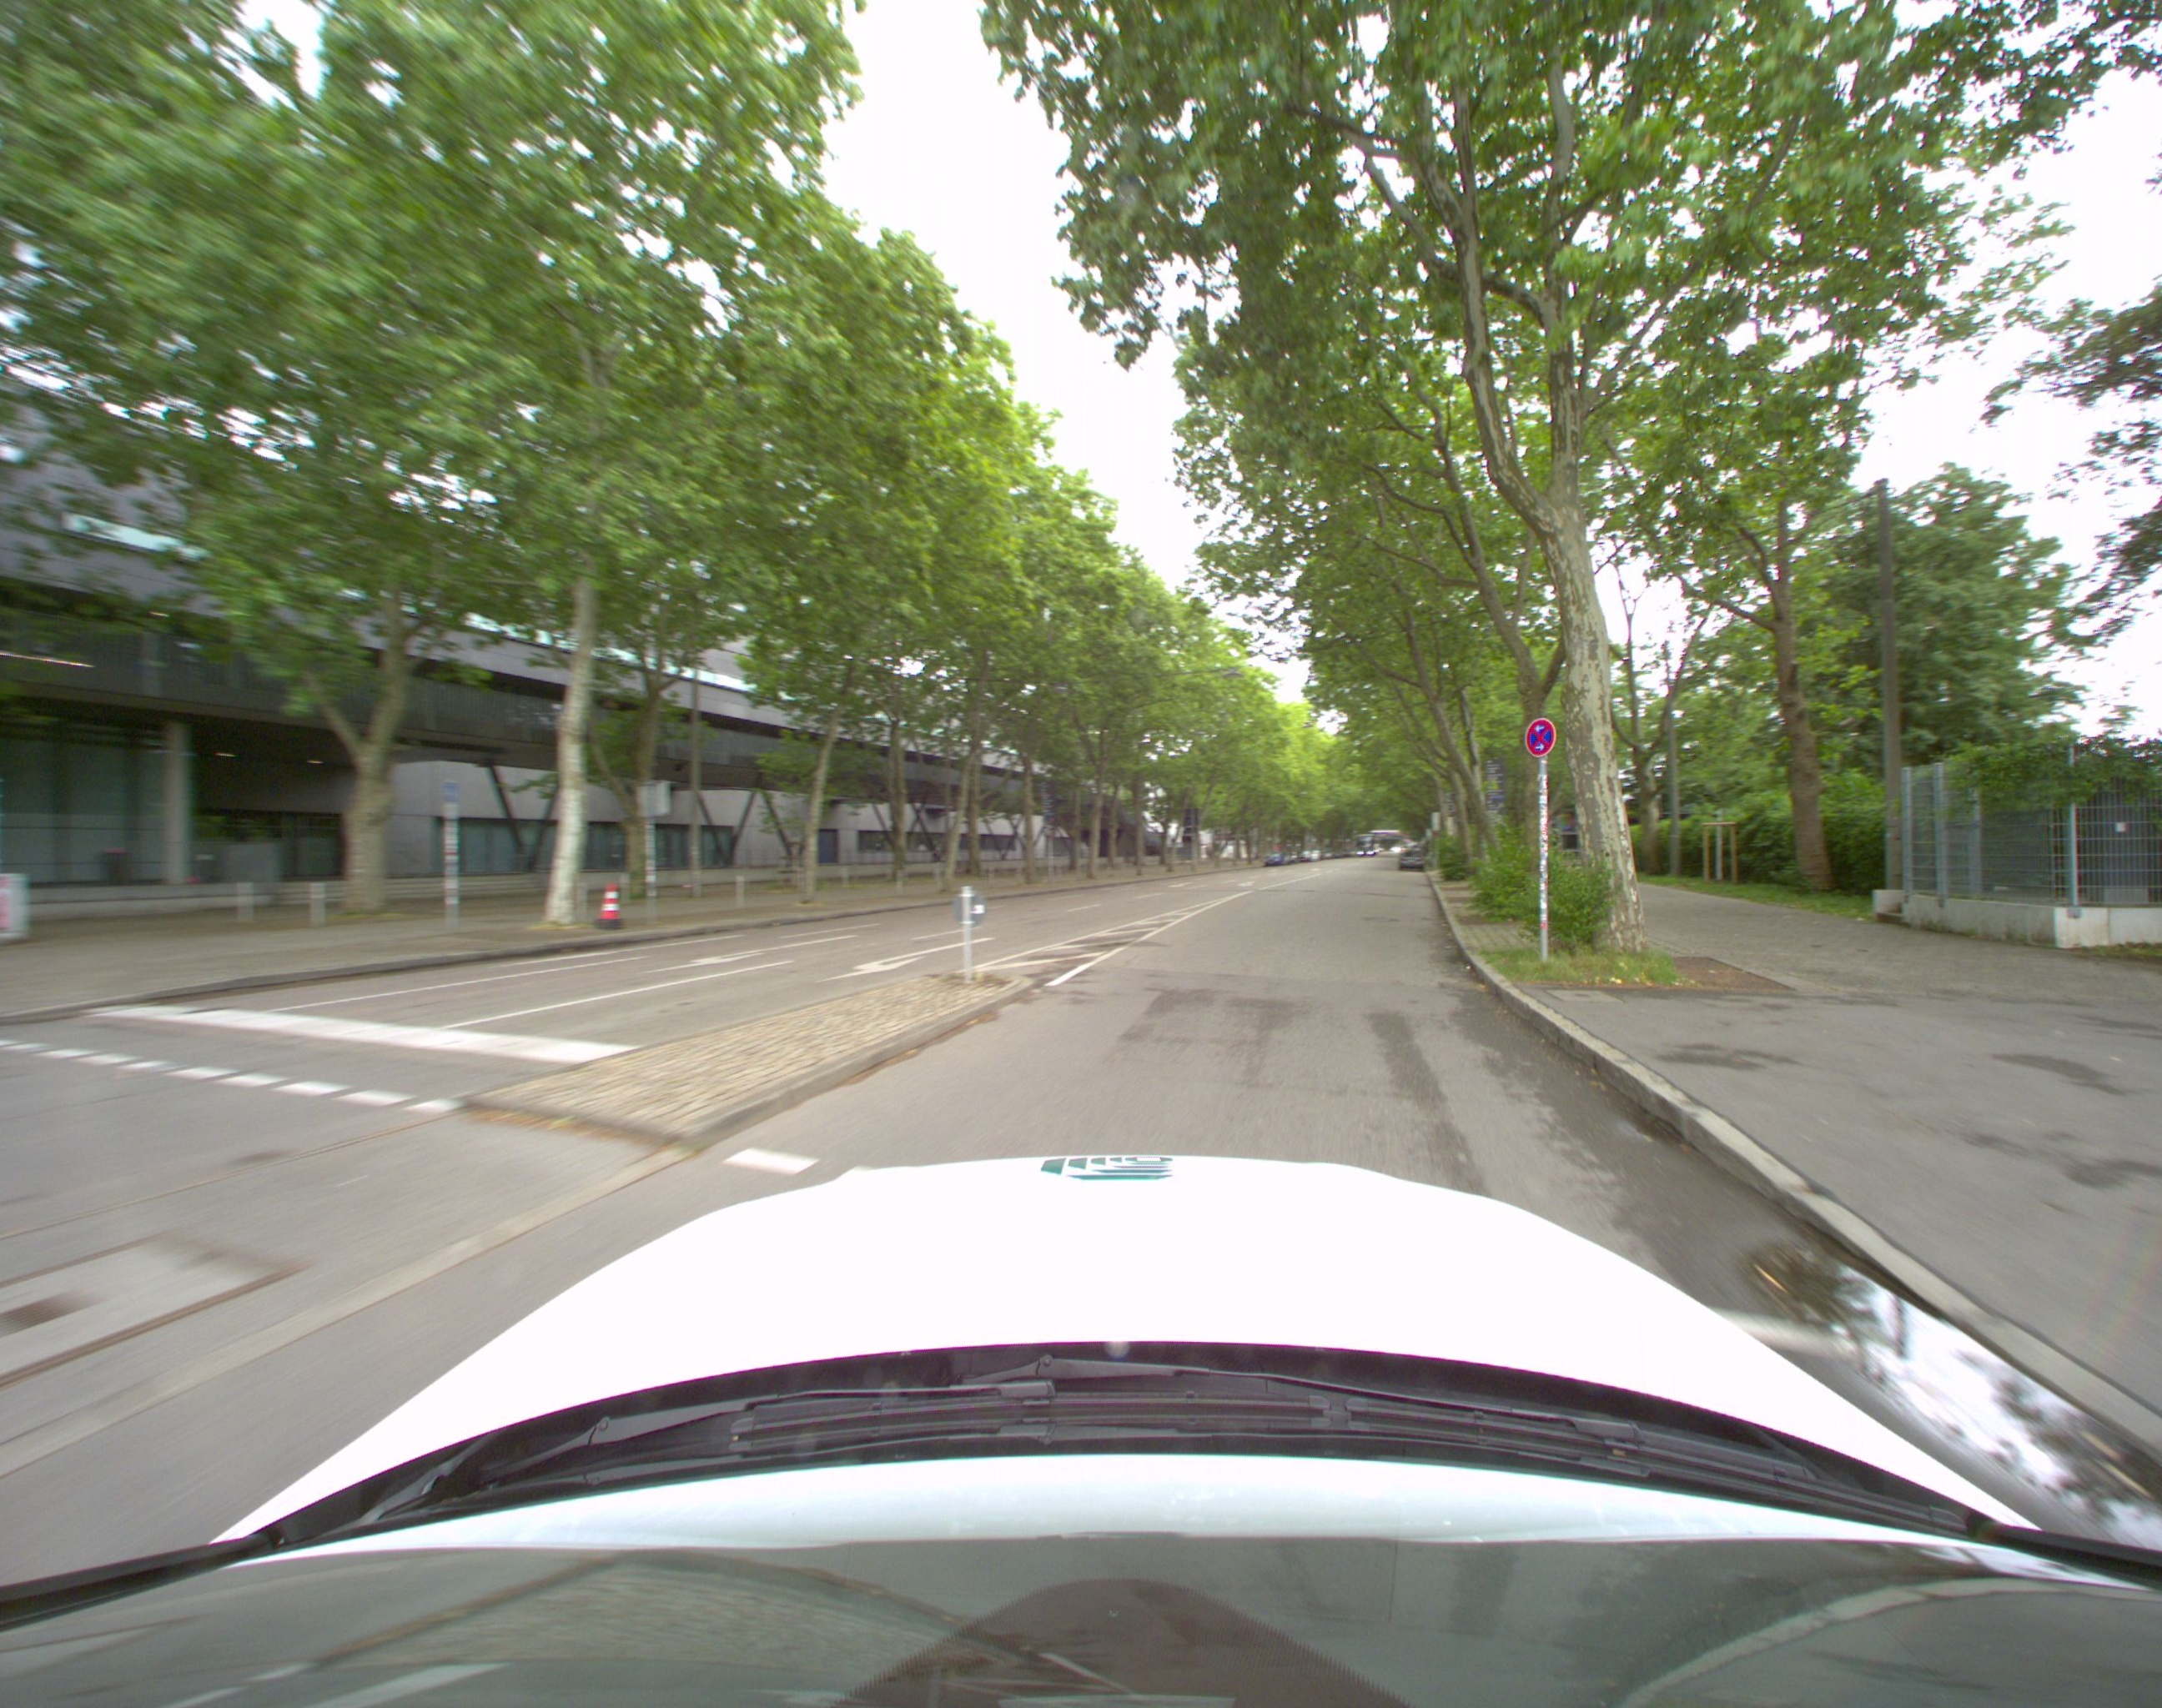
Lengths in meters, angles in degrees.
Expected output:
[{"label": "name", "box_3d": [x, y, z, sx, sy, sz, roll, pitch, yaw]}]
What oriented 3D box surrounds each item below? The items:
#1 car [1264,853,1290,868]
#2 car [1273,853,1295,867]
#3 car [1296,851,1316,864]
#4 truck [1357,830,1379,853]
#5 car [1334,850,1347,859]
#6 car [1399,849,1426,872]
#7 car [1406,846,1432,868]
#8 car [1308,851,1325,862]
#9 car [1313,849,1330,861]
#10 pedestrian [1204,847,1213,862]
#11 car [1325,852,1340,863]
[{"label": "car", "box_3d": [19.666, 0.664, 81.546, 1.679, 1.419, 3.783, -4, -2, 27]}, {"label": "car", "box_3d": [21.517, 0.647, 86.196, 1.751, 1.419, 3.779, -4, -2, 19]}, {"label": "car", "box_3d": [27.497, 0.463, 99.503, 1.750, 1.419, 3.781, -4, -2, 22]}, {"label": "truck", "box_3d": [50.284, -2.131, 142.573, 2.617, 3.902, 9.595, -2, -1, 25]}, {"label": "car", "box_3d": [43.270, 0.103, 135.817, 1.879, 1.438, 4.020, -2, -2, 21]}, {"label": "car", "box_3d": [24.459, 0.432, 60.055, 1.684, 1.518, 4.478, 3, 2, 22]}, {"label": "car", "box_3d": [26.855, 0.234, 64.875, 1.705, 1.567, 4.115, 3, 1, 20]}, {"label": "car", "box_3d": [30.649, 0.357, 106.047, 1.717, 1.332, 4.021, -2, -2, 22]}, {"label": "car", "box_3d": [32.938, 0.176, 111.318, 1.879, 1.438, 4.020, -2, -2, 21]}, {"label": "pedestrian", "box_3d": [15.827, 0.006, 100.926, 0.770, 1.835, 0.875, -1, 0, -12]}, {"label": "car", "box_3d": [38.451, 0.534, 124.646, 1.879, 1.438, 4.020, -2, -2, 21]}]
